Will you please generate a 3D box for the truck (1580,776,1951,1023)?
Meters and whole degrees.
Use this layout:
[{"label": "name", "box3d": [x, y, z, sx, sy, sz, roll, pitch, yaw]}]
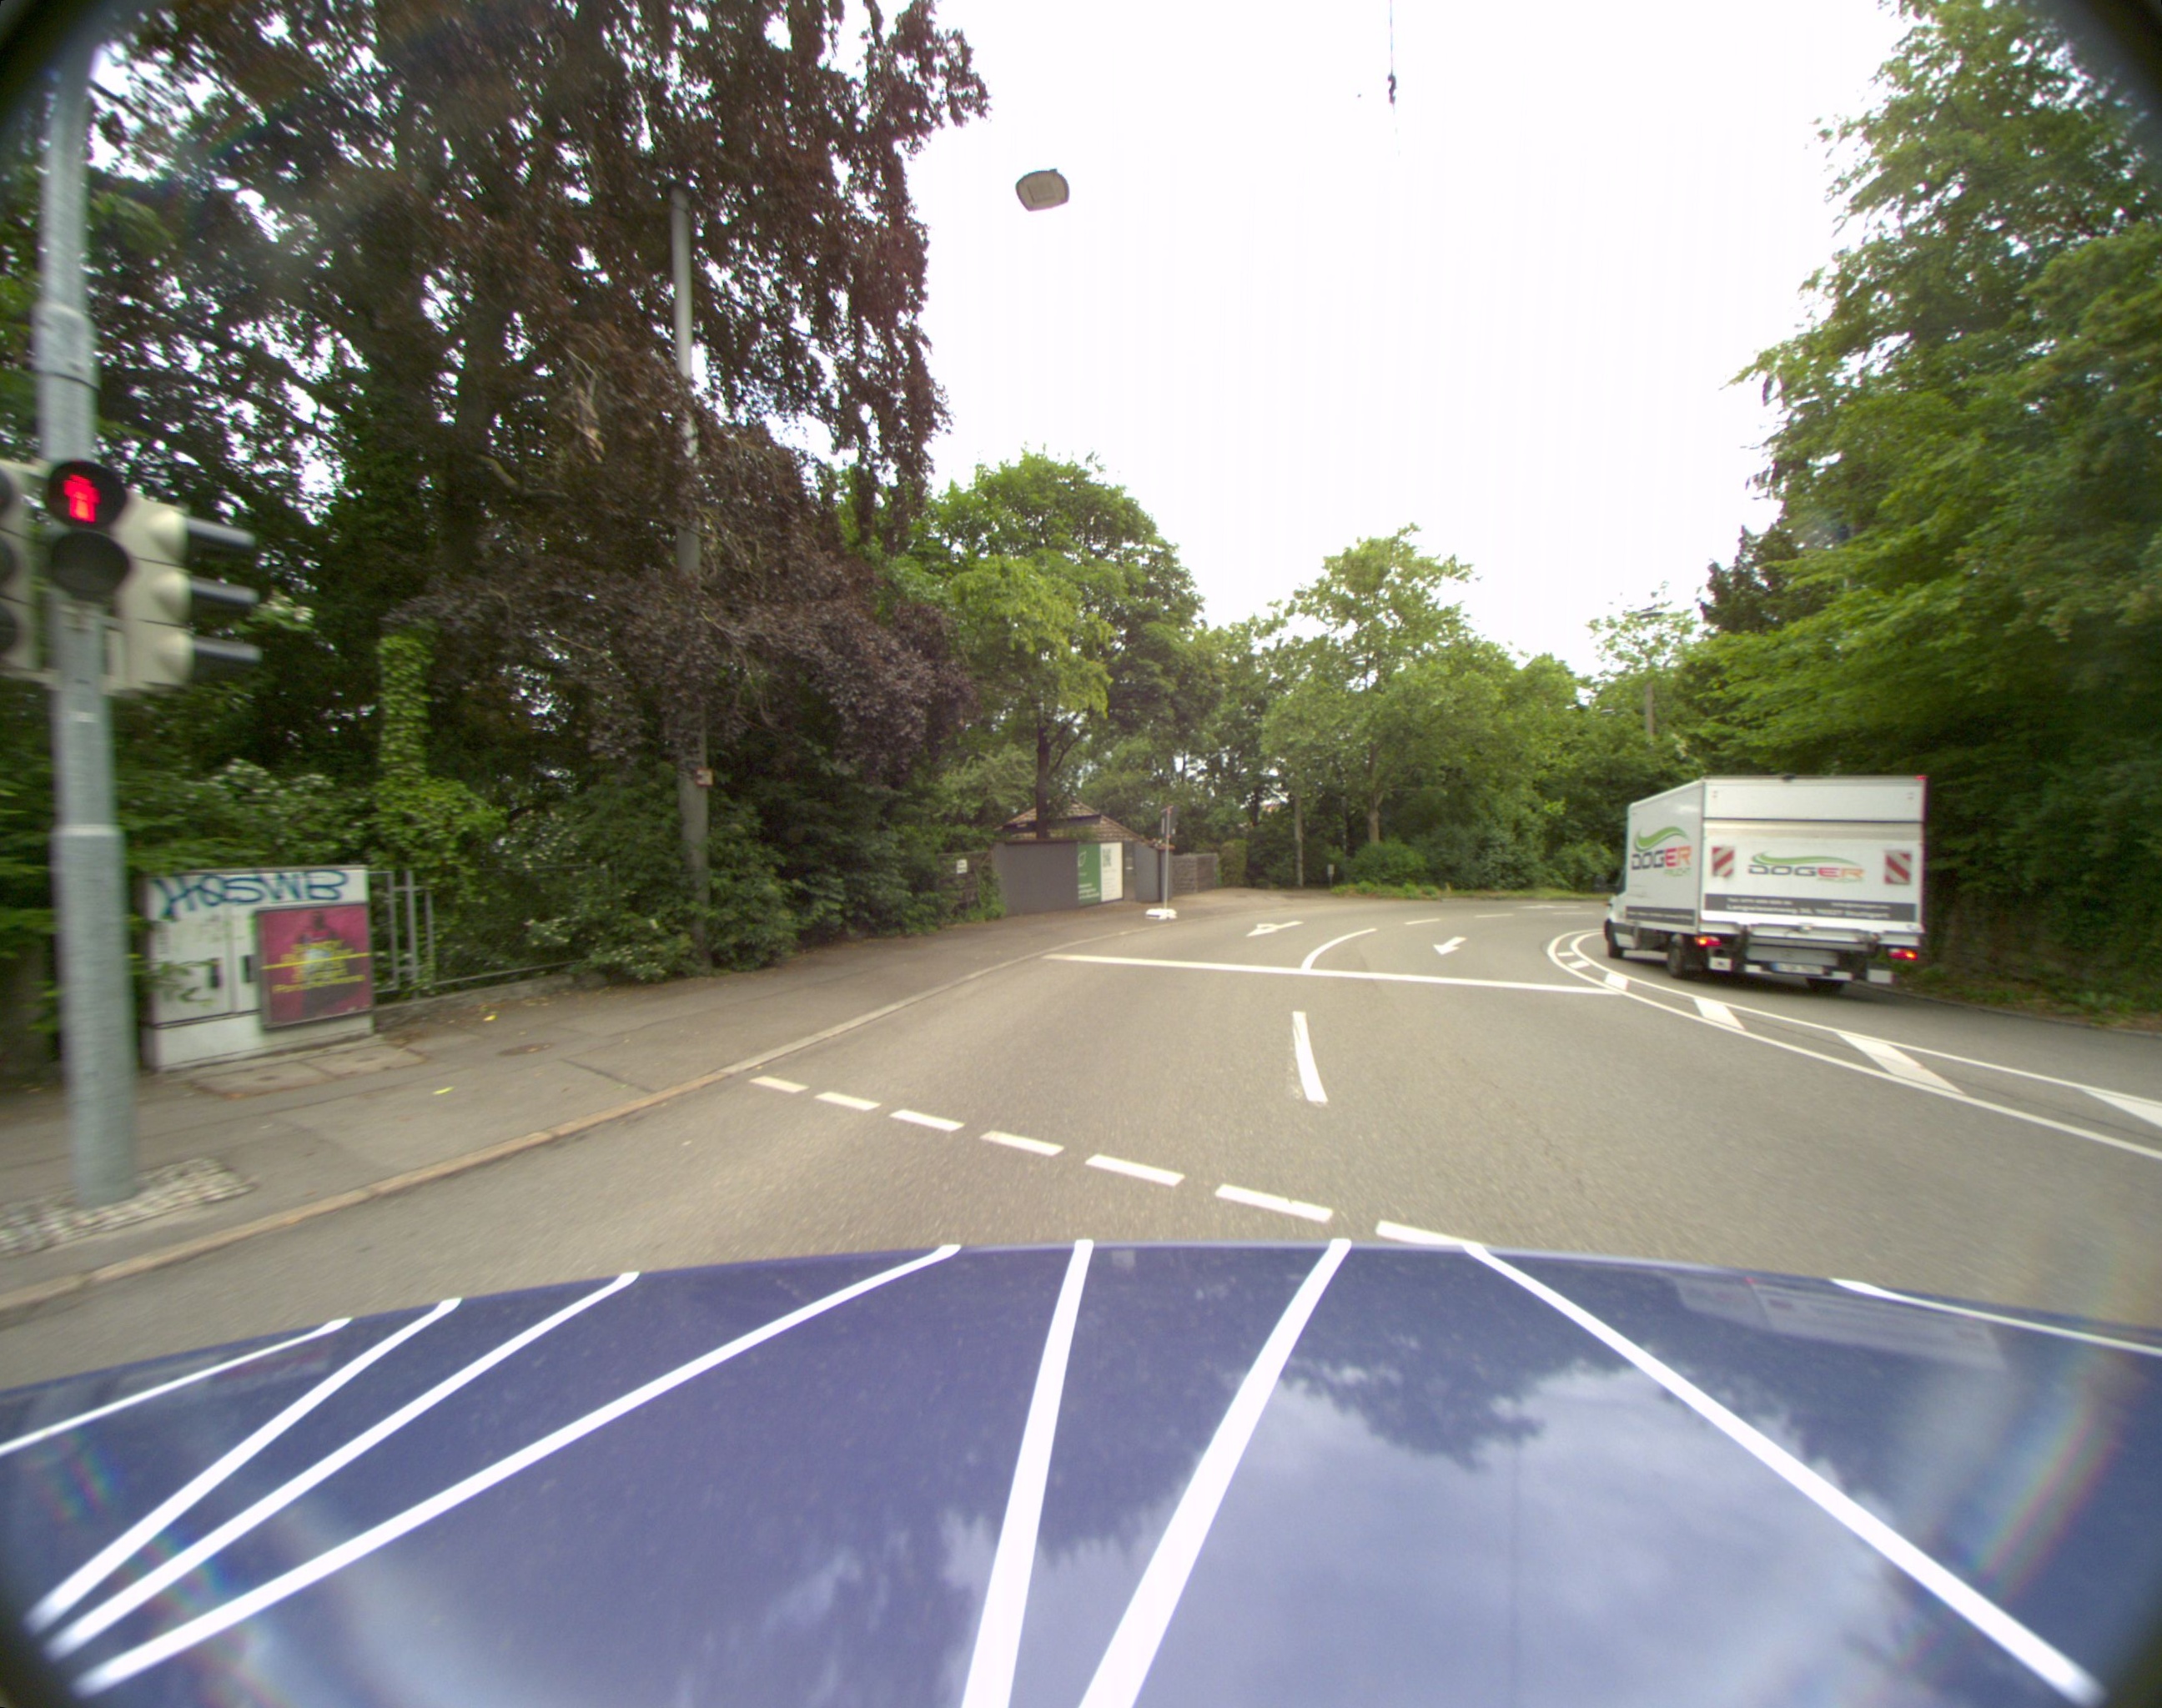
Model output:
[{"label": "truck", "box3d": [10.866, 0.647, 12.974, 2.403, 3.070, 6.356, 3, -1, 21]}]
